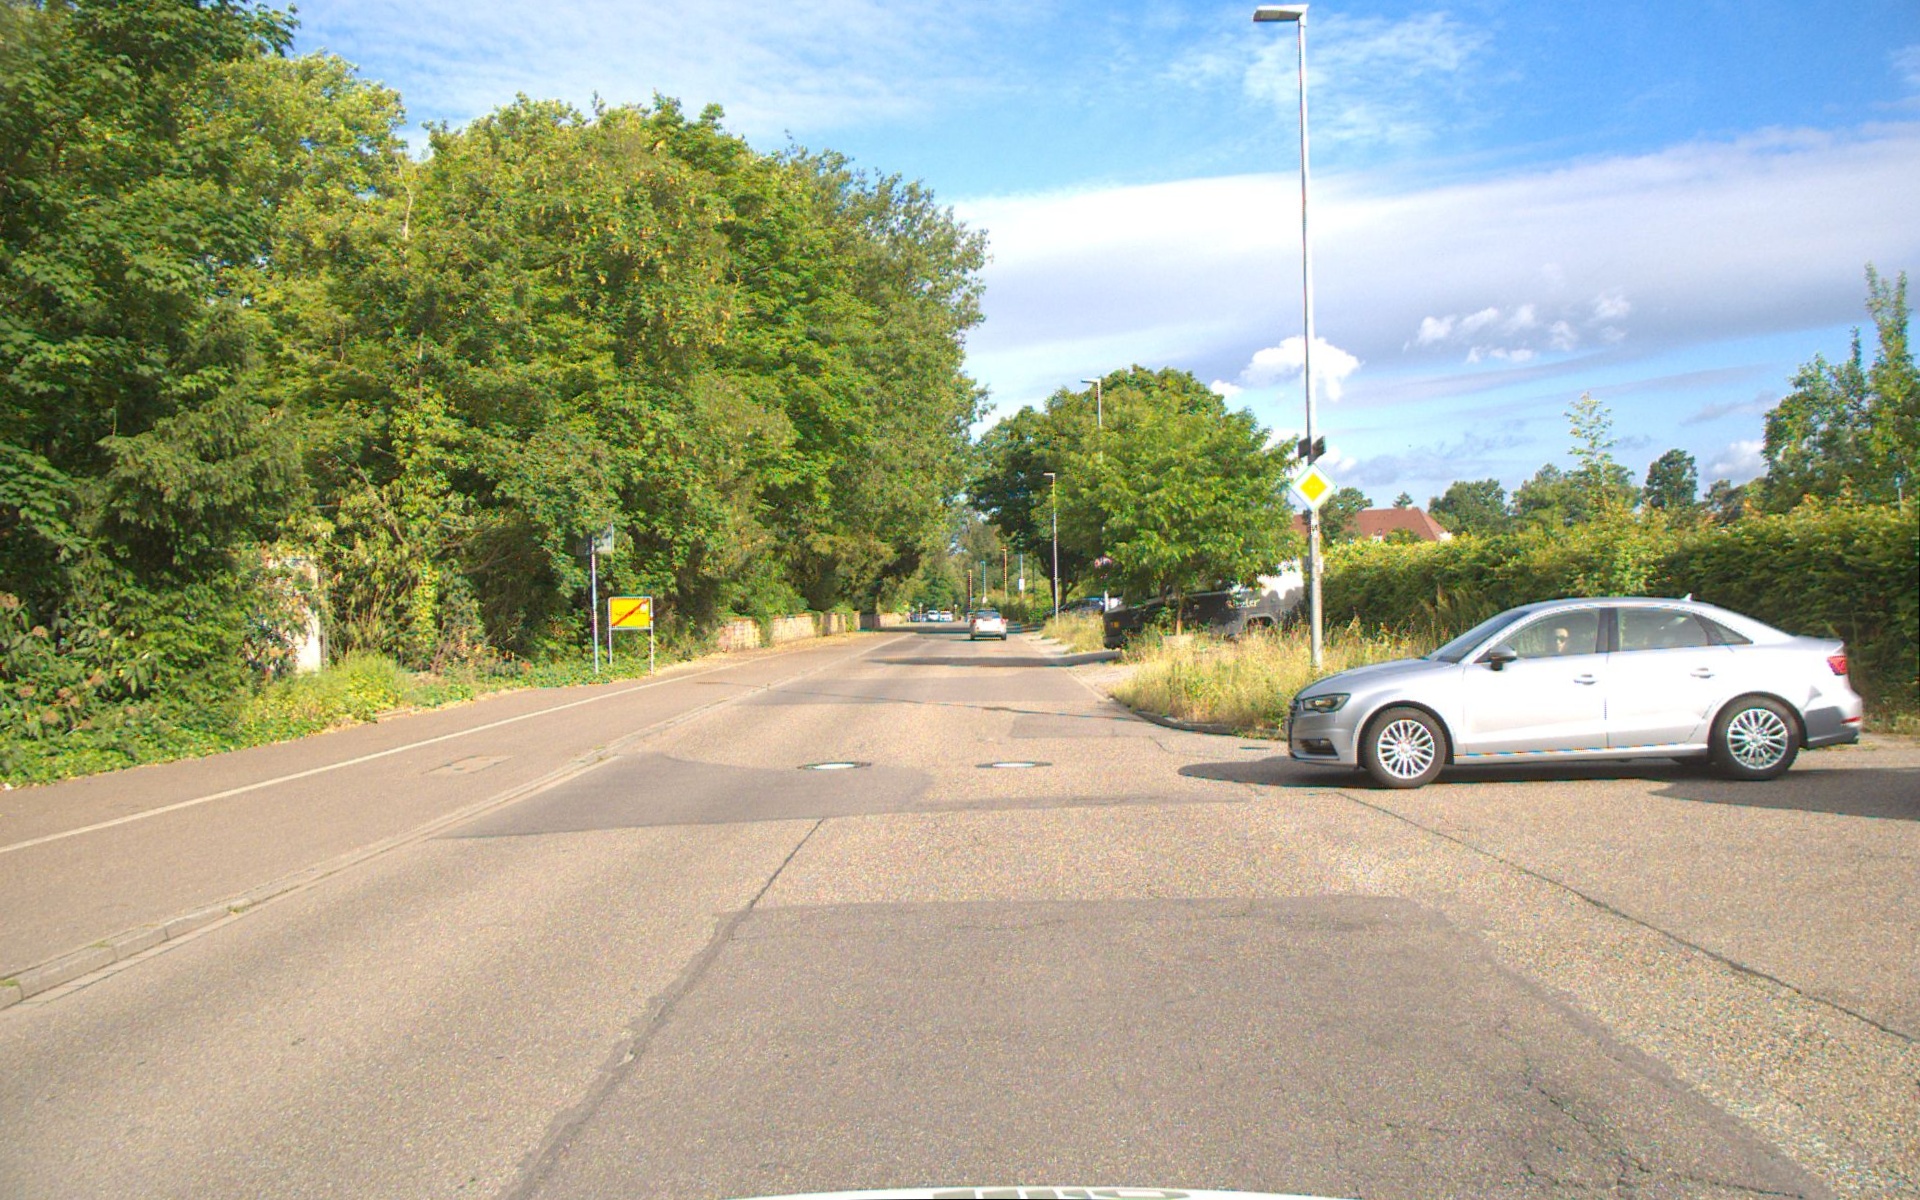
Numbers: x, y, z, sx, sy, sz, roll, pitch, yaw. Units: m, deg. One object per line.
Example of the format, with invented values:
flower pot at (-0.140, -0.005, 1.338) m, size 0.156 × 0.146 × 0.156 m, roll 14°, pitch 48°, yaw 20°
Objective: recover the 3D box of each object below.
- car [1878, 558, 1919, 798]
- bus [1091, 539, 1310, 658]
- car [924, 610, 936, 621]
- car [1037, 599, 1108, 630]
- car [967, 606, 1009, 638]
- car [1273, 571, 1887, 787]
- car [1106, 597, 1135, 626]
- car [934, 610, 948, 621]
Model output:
car at (8.043, 0.393, 9.868) m, size 4.248 × 1.459 × 1.966 m, roll -2°, pitch -1°, yaw -13°
bus at (6.203, -0.051, 43.111) m, size 5.258 × 2.794 × 2.067 m, roll -3°, pitch 0°, yaw -2°
car at (-4.508, 2.360, 248.771) m, size 1.848 × 1.641 × 4.054 m, roll -1°, pitch 0°, yaw 0°
car at (7.085, 0.914, 104.808) m, size 4.313 × 1.675 × 2.000 m, roll -4°, pitch -1°, yaw 1°
car at (1.275, 0.999, 77.236) m, size 1.848 × 1.396 × 4.054 m, roll -1°, pitch 0°, yaw 0°
car at (4.786, 0.616, 13.375) m, size 4.269 × 1.468 × 1.934 m, roll -2°, pitch -1°, yaw 7°
car at (9.993, 0.716, 102.874) m, size 1.322 × 1.661 × 4.115 m, roll -4°, pitch 0°, yaw 11°
car at (-2.516, 2.052, 218.407) m, size 1.848 × 1.396 × 4.053 m, roll -1°, pitch 0°, yaw -2°
